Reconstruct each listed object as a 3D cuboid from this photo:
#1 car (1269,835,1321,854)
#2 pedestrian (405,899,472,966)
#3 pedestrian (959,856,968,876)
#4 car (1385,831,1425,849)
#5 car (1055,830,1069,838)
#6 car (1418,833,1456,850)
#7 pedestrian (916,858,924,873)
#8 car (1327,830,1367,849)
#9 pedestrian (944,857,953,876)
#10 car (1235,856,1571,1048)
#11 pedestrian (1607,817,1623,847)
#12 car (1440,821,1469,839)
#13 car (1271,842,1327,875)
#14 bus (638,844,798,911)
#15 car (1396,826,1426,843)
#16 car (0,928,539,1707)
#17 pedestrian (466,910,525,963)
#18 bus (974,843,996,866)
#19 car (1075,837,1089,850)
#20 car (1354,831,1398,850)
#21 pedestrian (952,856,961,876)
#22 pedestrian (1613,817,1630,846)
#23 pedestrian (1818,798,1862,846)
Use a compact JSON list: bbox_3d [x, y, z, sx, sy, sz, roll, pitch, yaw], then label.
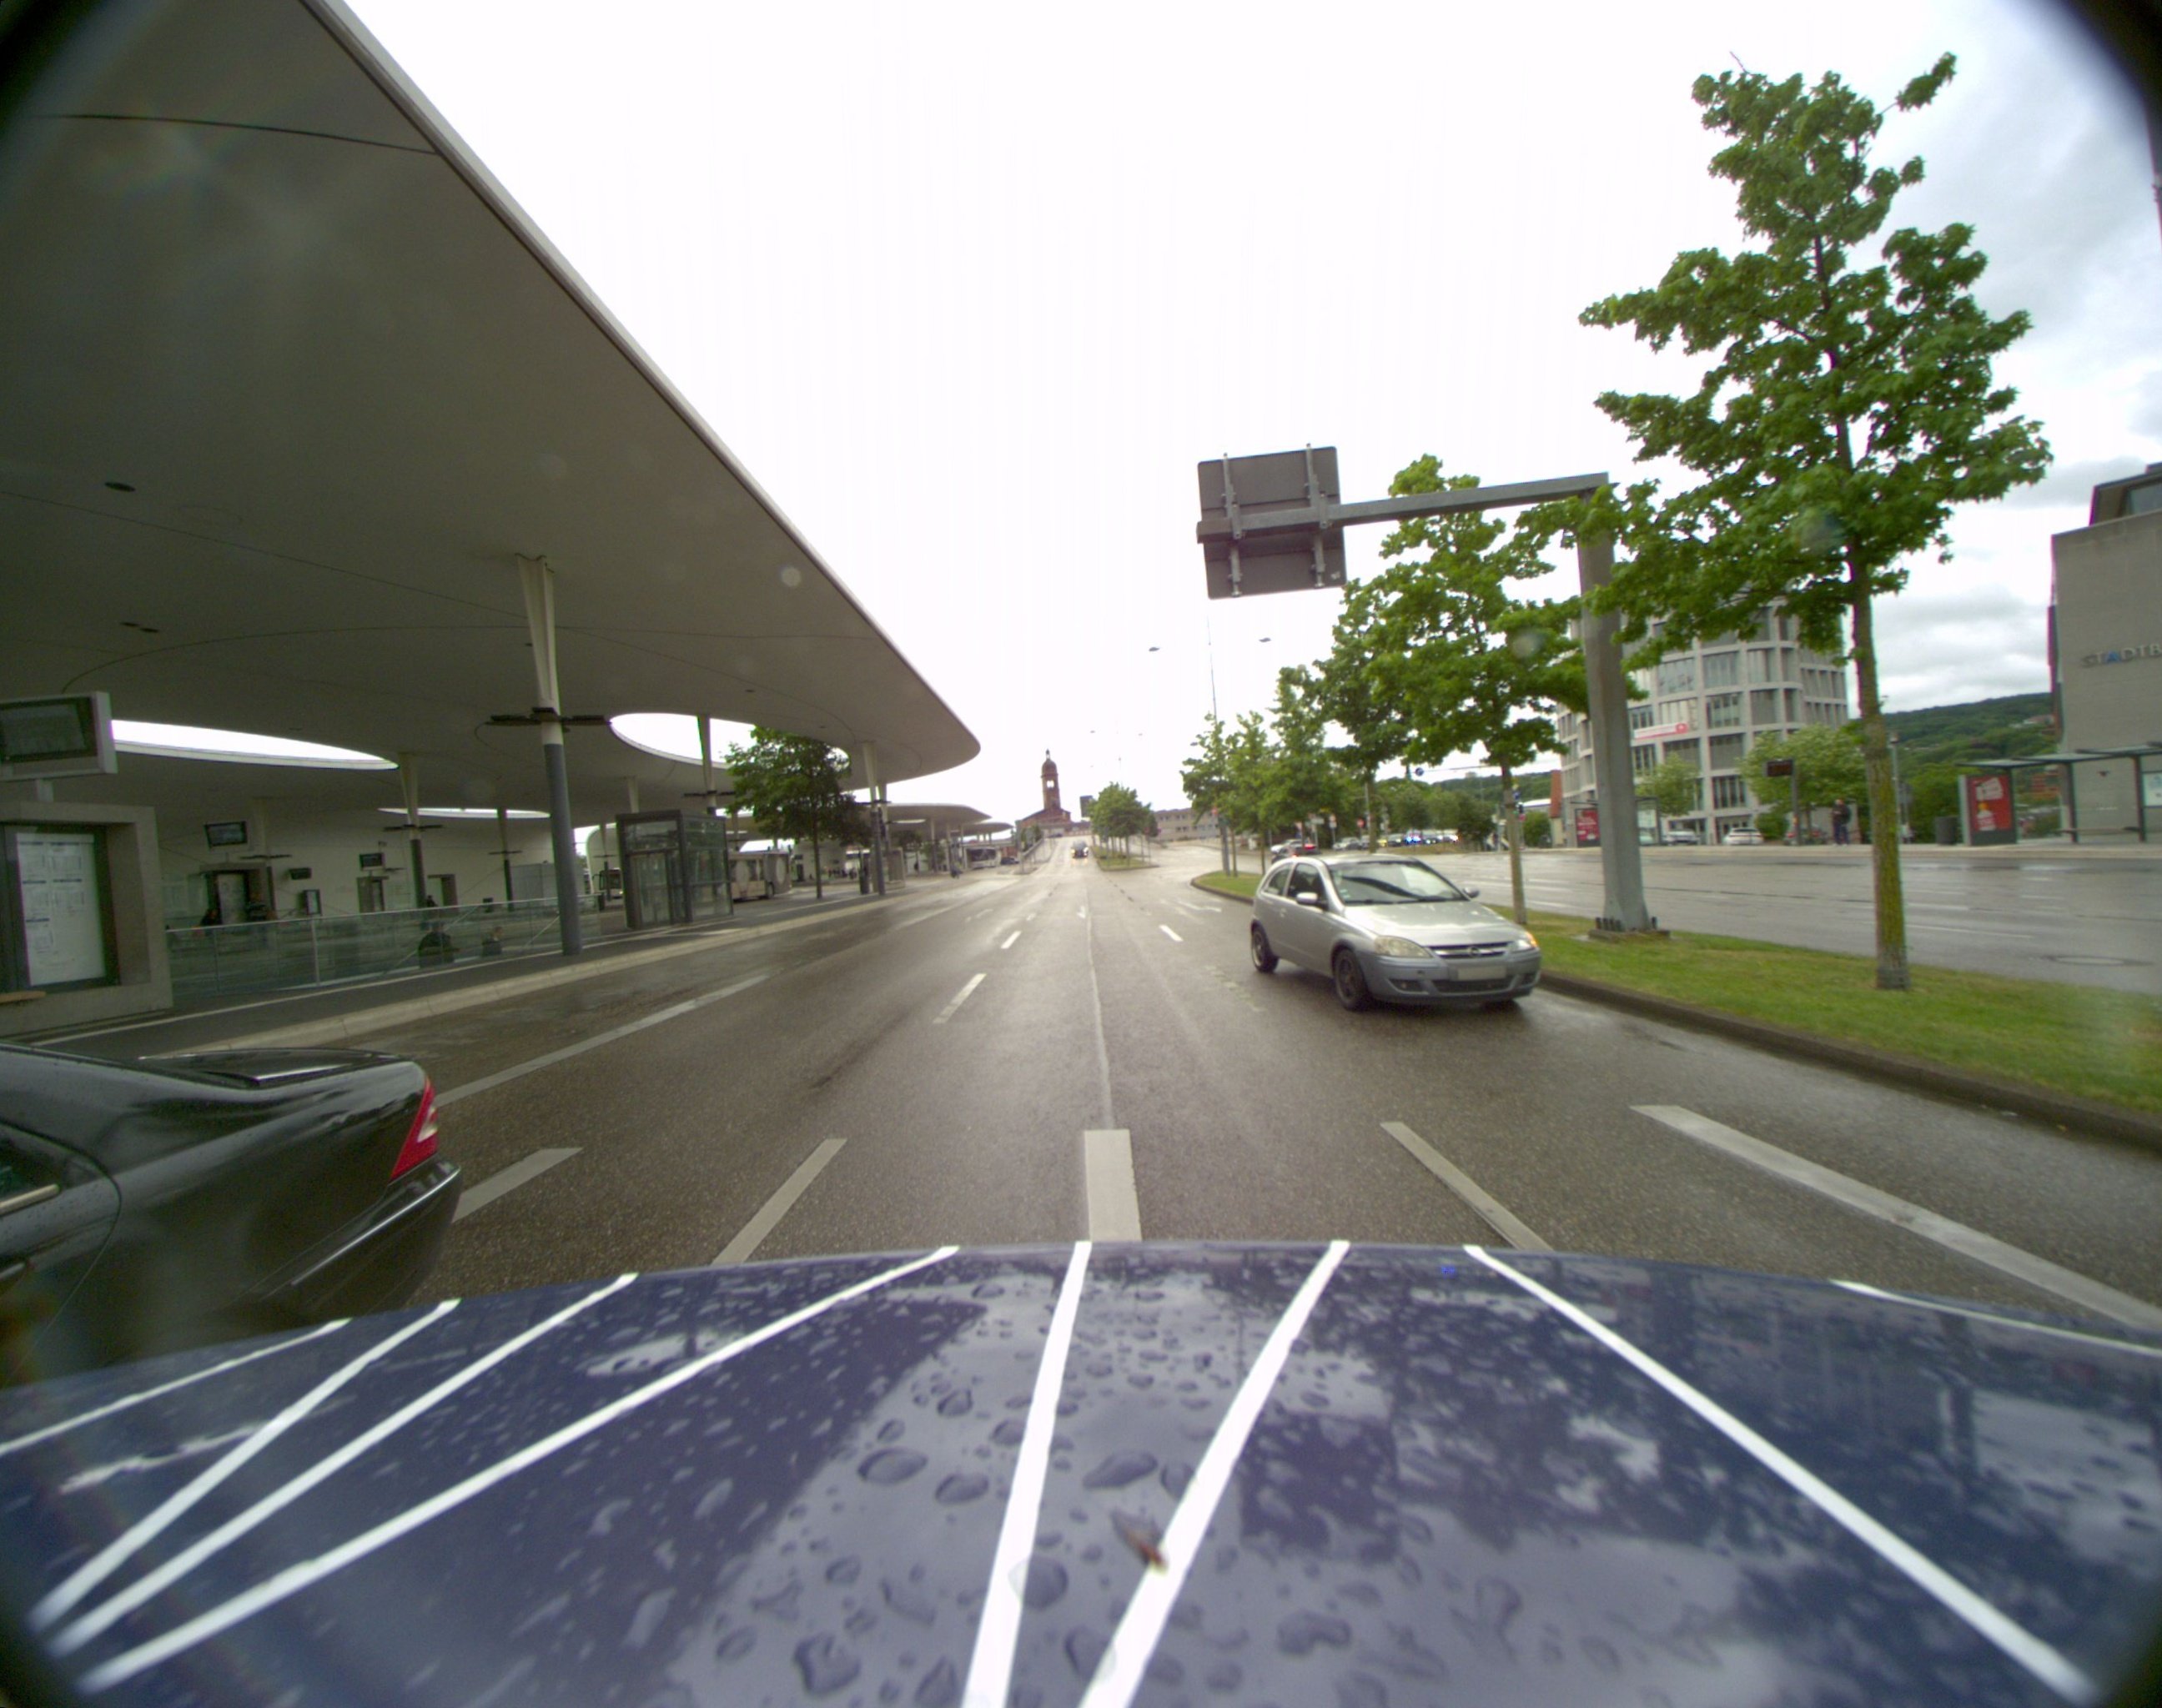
[{"bbox_3d":[22.618,-1.030,80.429,4.921,1.702,2.192,-3,1,-21],"label":"car"},{"bbox_3d":[-12.863,1.553,15.228,0.693,1.244,0.669,-3,1,1],"label":"pedestrian"},{"bbox_3d":[-9.765,1.008,63.258,0.557,1.614,0.552,-3,1,1],"label":"pedestrian"},{"bbox_3d":[35.949,-1.585,84.171,4.925,1.702,2.190,-3,1,-43],"label":"car"},{"bbox_3d":[-4.858,-5.139,192.818,2.003,1.765,3.991,-3,1,-28],"label":"car"},{"bbox_3d":[41.000,-1.410,87.514,4.925,1.702,2.190,-3,1,-43],"label":"car"},{"bbox_3d":[-18.342,1.303,86.602,0.723,1.621,0.753,-3,1,0],"label":"pedestrian"},{"bbox_3d":[29.436,-1.605,84.062,4.005,1.783,1.995,-3,1,-30],"label":"car"},{"bbox_3d":[-11.045,1.044,63.386,0.576,1.614,0.588,-3,1,1],"label":"pedestrian"},{"bbox_3d":[3.011,0.790,8.018,1.628,1.450,3.733,-3,0,-6],"label":"car"},{"bbox_3d":[29.512,-1.221,42.020,0.504,1.625,0.502,-2,1,1],"label":"pedestrian"},{"bbox_3d":[46.475,-2.997,94.483,1.995,2.002,4.007,-2,1,44],"label":"car"},{"bbox_3d":[11.670,0.210,40.919,1.826,1.630,4.600,-3,0,3],"label":"car"},{"bbox_3d":[-19.834,1.099,42.871,3.003,3.088,12.353,-3,0,0],"label":"bus"},{"bbox_3d":[42.311,-2.502,97.491,2.307,2.002,5.037,-3,0,10],"label":"car"},{"bbox_3d":[-2.847,1.159,0.339,1.750,1.472,4.434,-7,2,2],"label":"car"},{"bbox_3d":[-11.705,1.636,15.193,0.622,0.957,0.638,-3,1,1],"label":"pedestrian"},{"bbox_3d":[-14.284,0.064,113.281,2.675,3.111,9.712,-3,0,-5],"label":"bus"},{"bbox_3d":[0.093,-1.377,101.418,1.704,1.656,3.998,-3,1,-2],"label":"car"},{"bbox_3d":[30.333,-1.361,77.951,4.925,1.702,2.190,-3,1,-43],"label":"car"},{"bbox_3d":[-10.383,1.021,63.344,0.557,1.614,0.552,-3,1,1],"label":"pedestrian"},{"bbox_3d":[30.061,-1.248,42.254,0.520,1.625,0.536,-2,1,1],"label":"pedestrian"},{"bbox_3d":[29.096,-1.210,29.139,0.787,1.750,0.972,-3,1,-28],"label":"pedestrian"}]
